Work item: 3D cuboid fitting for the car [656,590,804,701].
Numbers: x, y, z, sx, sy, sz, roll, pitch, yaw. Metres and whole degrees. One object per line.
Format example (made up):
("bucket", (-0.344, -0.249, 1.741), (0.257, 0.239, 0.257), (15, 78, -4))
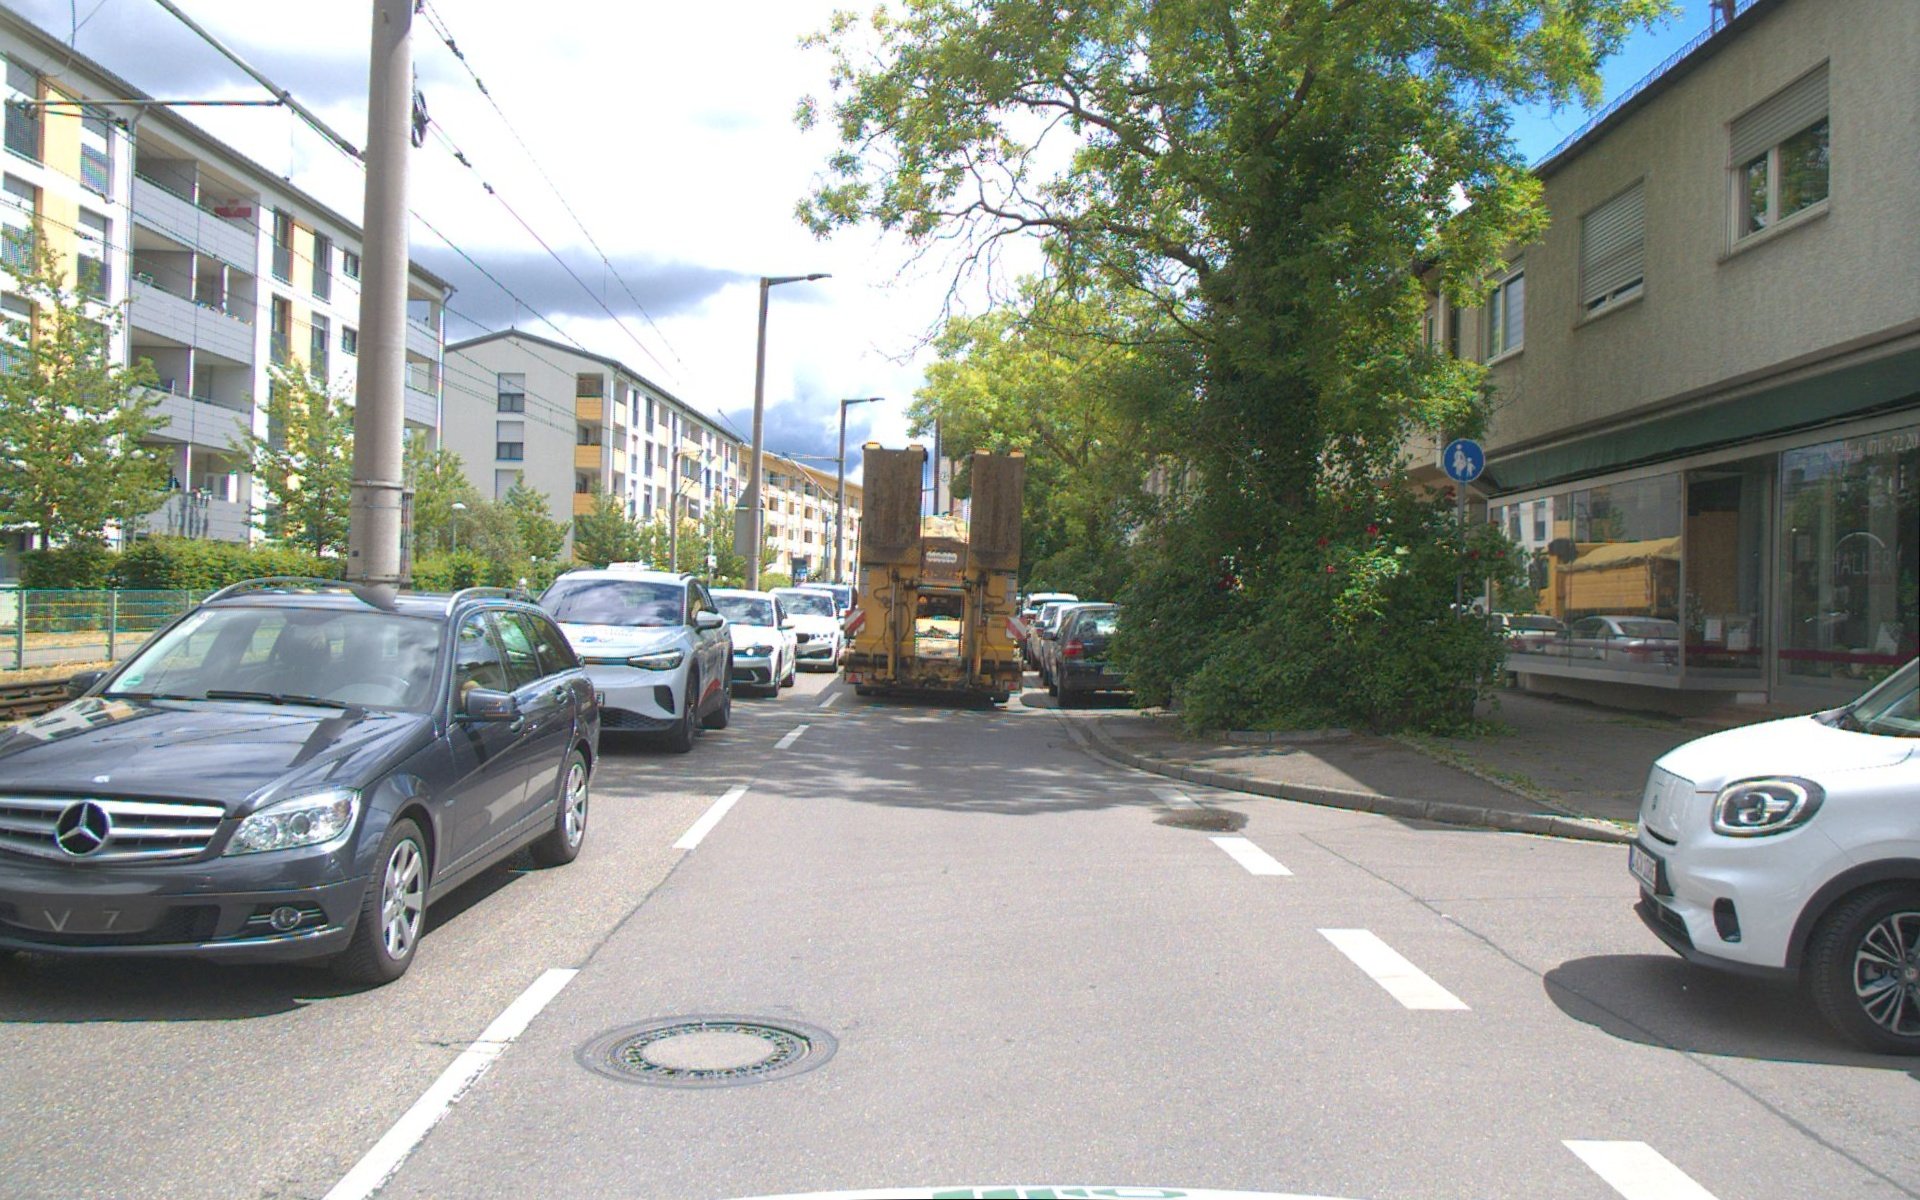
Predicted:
("car", (-3.286, 0.605, 24.275), (1.711, 1.431, 3.939), (2, 0, -2))

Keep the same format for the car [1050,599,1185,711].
("car", (2.332, 0.776, 25.384), (1.776, 1.489, 4.042), (2, 0, 2))

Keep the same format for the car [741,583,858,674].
("car", (-3.021, 0.496, 32.018), (1.780, 1.528, 4.836), (3, 0, -1))

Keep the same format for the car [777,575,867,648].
("car", (-3.386, 0.260, 41.381), (1.780, 1.641, 4.601), (3, 0, 0))

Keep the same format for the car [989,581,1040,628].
("car", (2.224, 0.155, 67.284), (1.973, 1.820, 5.077), (1, 0, 2))

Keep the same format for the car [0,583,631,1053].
("car", (-2.868, 0.690, 7.591), (1.774, 1.470, 4.465), (2, 0, 0))

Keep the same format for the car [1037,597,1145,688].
("car", (2.404, 0.735, 31.405), (1.776, 1.524, 4.912), (2, 0, 2))

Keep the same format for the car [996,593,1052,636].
("car", (2.162, 0.458, 55.378), (1.734, 1.373, 4.002), (-1, 0, 4))

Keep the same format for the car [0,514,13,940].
("car", (-3.175, 0.630, 1.749), (1.819, 1.689, 4.177), (2, 0, 1))

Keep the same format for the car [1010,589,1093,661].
("car", (2.285, 0.602, 42.487), (1.800, 1.672, 4.429), (2, 0, -1))

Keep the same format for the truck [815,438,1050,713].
("truck", (-0.374, -0.379, 28.717), (3.060, 3.626, 12.459), (2, 0, 0))

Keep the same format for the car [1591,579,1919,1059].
("car", (4.417, 0.728, 6.212), (3.559, 1.599, 1.843), (0, 0, 11))

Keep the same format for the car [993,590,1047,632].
("car", (2.173, 0.378, 60.672), (1.735, 1.467, 3.898), (-1, 0, -2))

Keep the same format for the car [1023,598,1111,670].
("car", (2.361, 0.723, 37.350), (1.689, 1.451, 4.446), (2, 0, 0))

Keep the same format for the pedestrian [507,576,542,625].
("pedestrian", (-13.795, 0.016, 52.427), (0.780, 1.509, 0.995), (2, 0, -1))

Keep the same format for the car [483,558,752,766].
("car", (-3.193, 0.514, 16.306), (1.820, 1.720, 4.432), (2, 0, -2))
